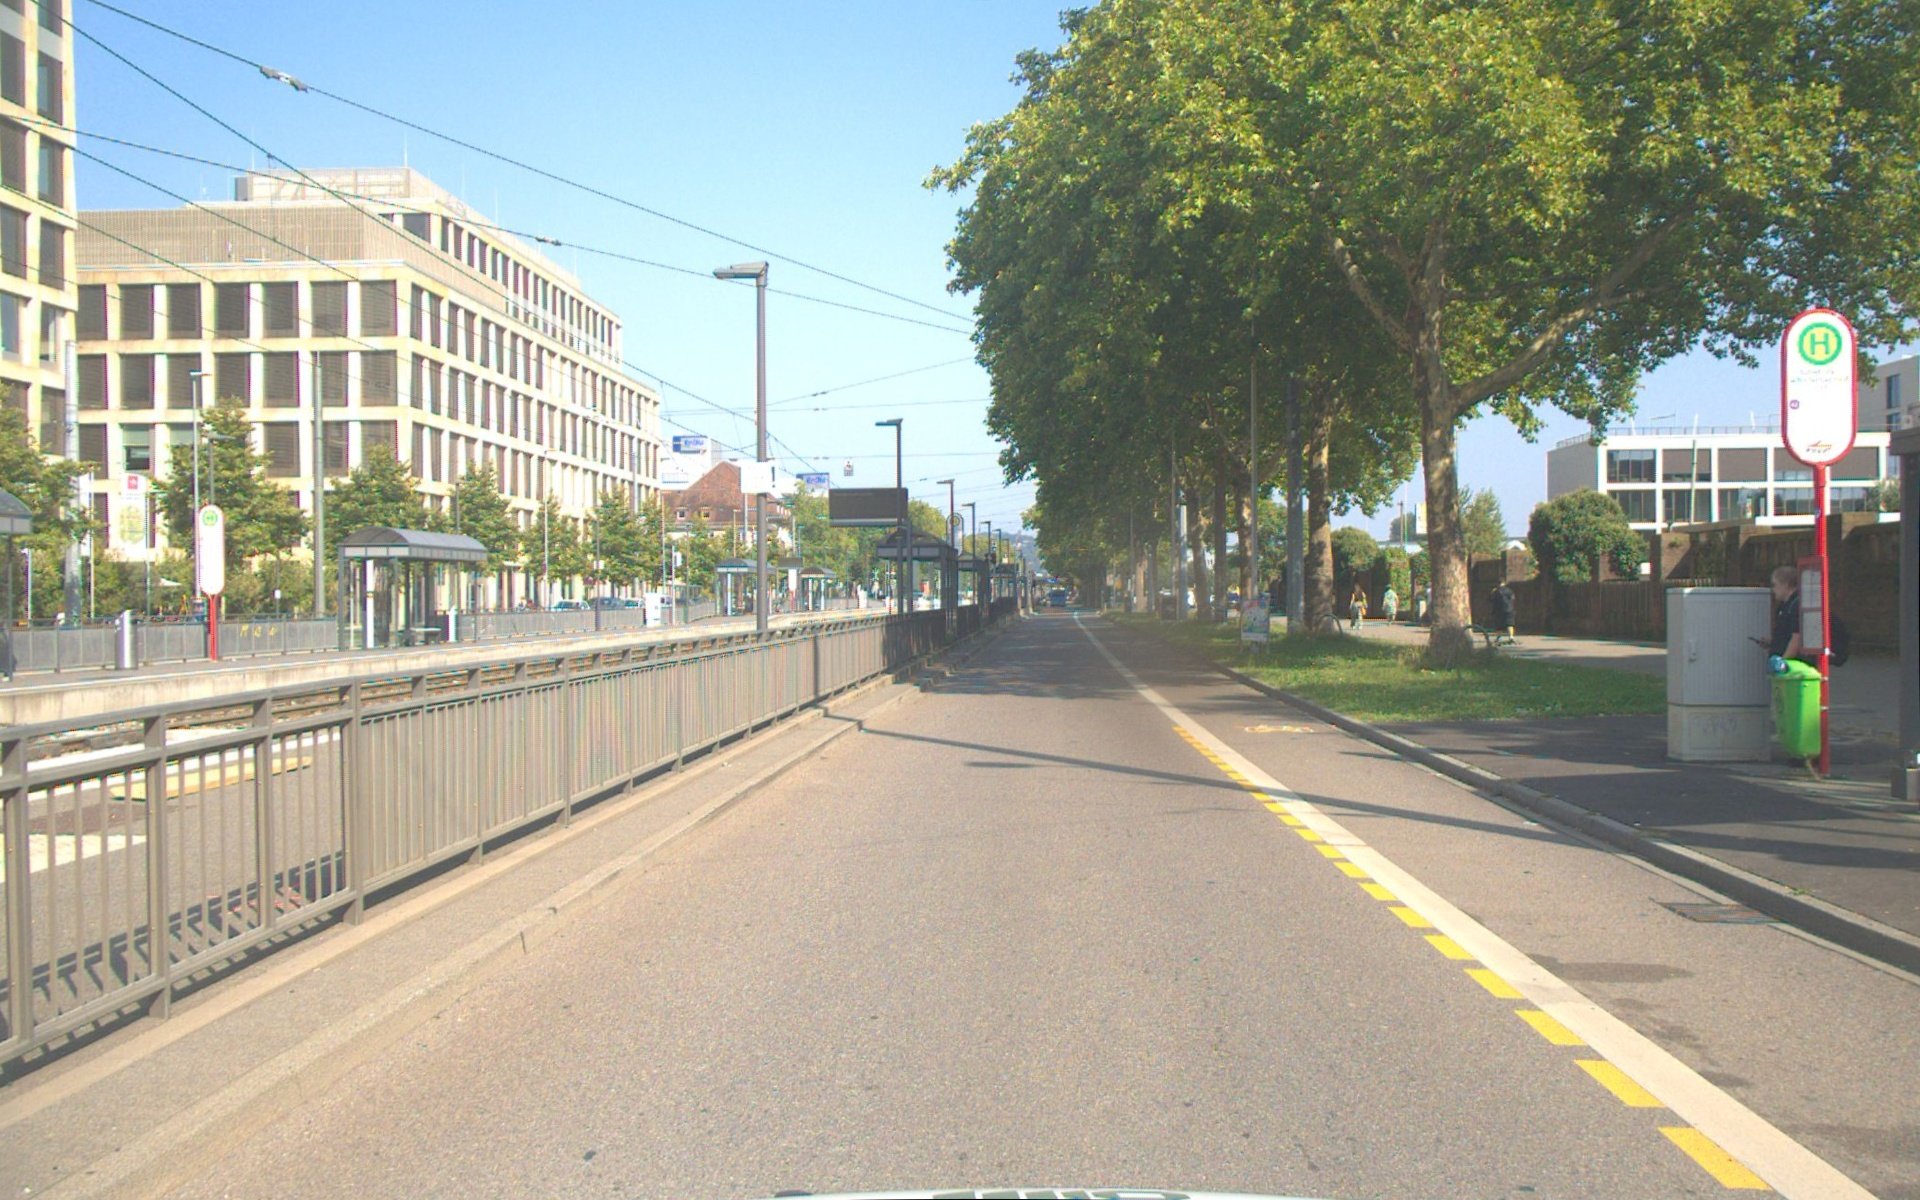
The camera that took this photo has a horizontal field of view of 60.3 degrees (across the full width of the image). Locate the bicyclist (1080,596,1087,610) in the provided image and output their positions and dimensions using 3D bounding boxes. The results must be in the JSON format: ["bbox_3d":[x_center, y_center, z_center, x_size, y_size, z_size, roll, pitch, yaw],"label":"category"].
[{"bbox_3d":[12.946,0.306,173.362,0.691,1.486,1.009,0,-1,4],"label":"bicyclist"}]

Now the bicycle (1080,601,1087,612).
[{"bbox_3d":[12.951,0.702,173.372,0.700,1.127,2.510,0,-1,4],"label":"bicycle"}]

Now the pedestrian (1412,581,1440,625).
[{"bbox_3d":[17.742,0.101,63.031,0.789,1.632,0.947,-2,-1,4],"label":"pedestrian"}]

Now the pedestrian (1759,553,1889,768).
[{"bbox_3d":[7.164,0.487,13.730,0.677,1.726,0.645,-1,0,-18],"label":"pedestrian"}]

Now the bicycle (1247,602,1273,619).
[{"bbox_3d":[19.296,0.680,106.398,1.621,0.986,0.506,-3,-1,9],"label":"bicycle"}]

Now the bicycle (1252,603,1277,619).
[{"bbox_3d":[20.404,0.718,110.805,1.621,0.986,0.506,-3,-1,6],"label":"bicycle"}]

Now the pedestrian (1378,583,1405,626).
[{"bbox_3d":[16.580,0.166,63.545,0.789,1.632,0.947,-2,-1,4],"label":"pedestrian"}]

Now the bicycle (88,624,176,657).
[{"bbox_3d":[-26.405,1.281,52.780,2.382,1.003,0.822,-1,0,2],"label":"bicycle"}]

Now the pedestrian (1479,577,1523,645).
[{"bbox_3d":[13.883,0.280,42.481,0.802,1.716,1.012,-1,0,4],"label":"pedestrian"}]

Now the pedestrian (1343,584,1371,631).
[{"bbox_3d":[14.294,0.264,59.547,0.789,1.665,0.947,-2,-1,4],"label":"pedestrian"}]
